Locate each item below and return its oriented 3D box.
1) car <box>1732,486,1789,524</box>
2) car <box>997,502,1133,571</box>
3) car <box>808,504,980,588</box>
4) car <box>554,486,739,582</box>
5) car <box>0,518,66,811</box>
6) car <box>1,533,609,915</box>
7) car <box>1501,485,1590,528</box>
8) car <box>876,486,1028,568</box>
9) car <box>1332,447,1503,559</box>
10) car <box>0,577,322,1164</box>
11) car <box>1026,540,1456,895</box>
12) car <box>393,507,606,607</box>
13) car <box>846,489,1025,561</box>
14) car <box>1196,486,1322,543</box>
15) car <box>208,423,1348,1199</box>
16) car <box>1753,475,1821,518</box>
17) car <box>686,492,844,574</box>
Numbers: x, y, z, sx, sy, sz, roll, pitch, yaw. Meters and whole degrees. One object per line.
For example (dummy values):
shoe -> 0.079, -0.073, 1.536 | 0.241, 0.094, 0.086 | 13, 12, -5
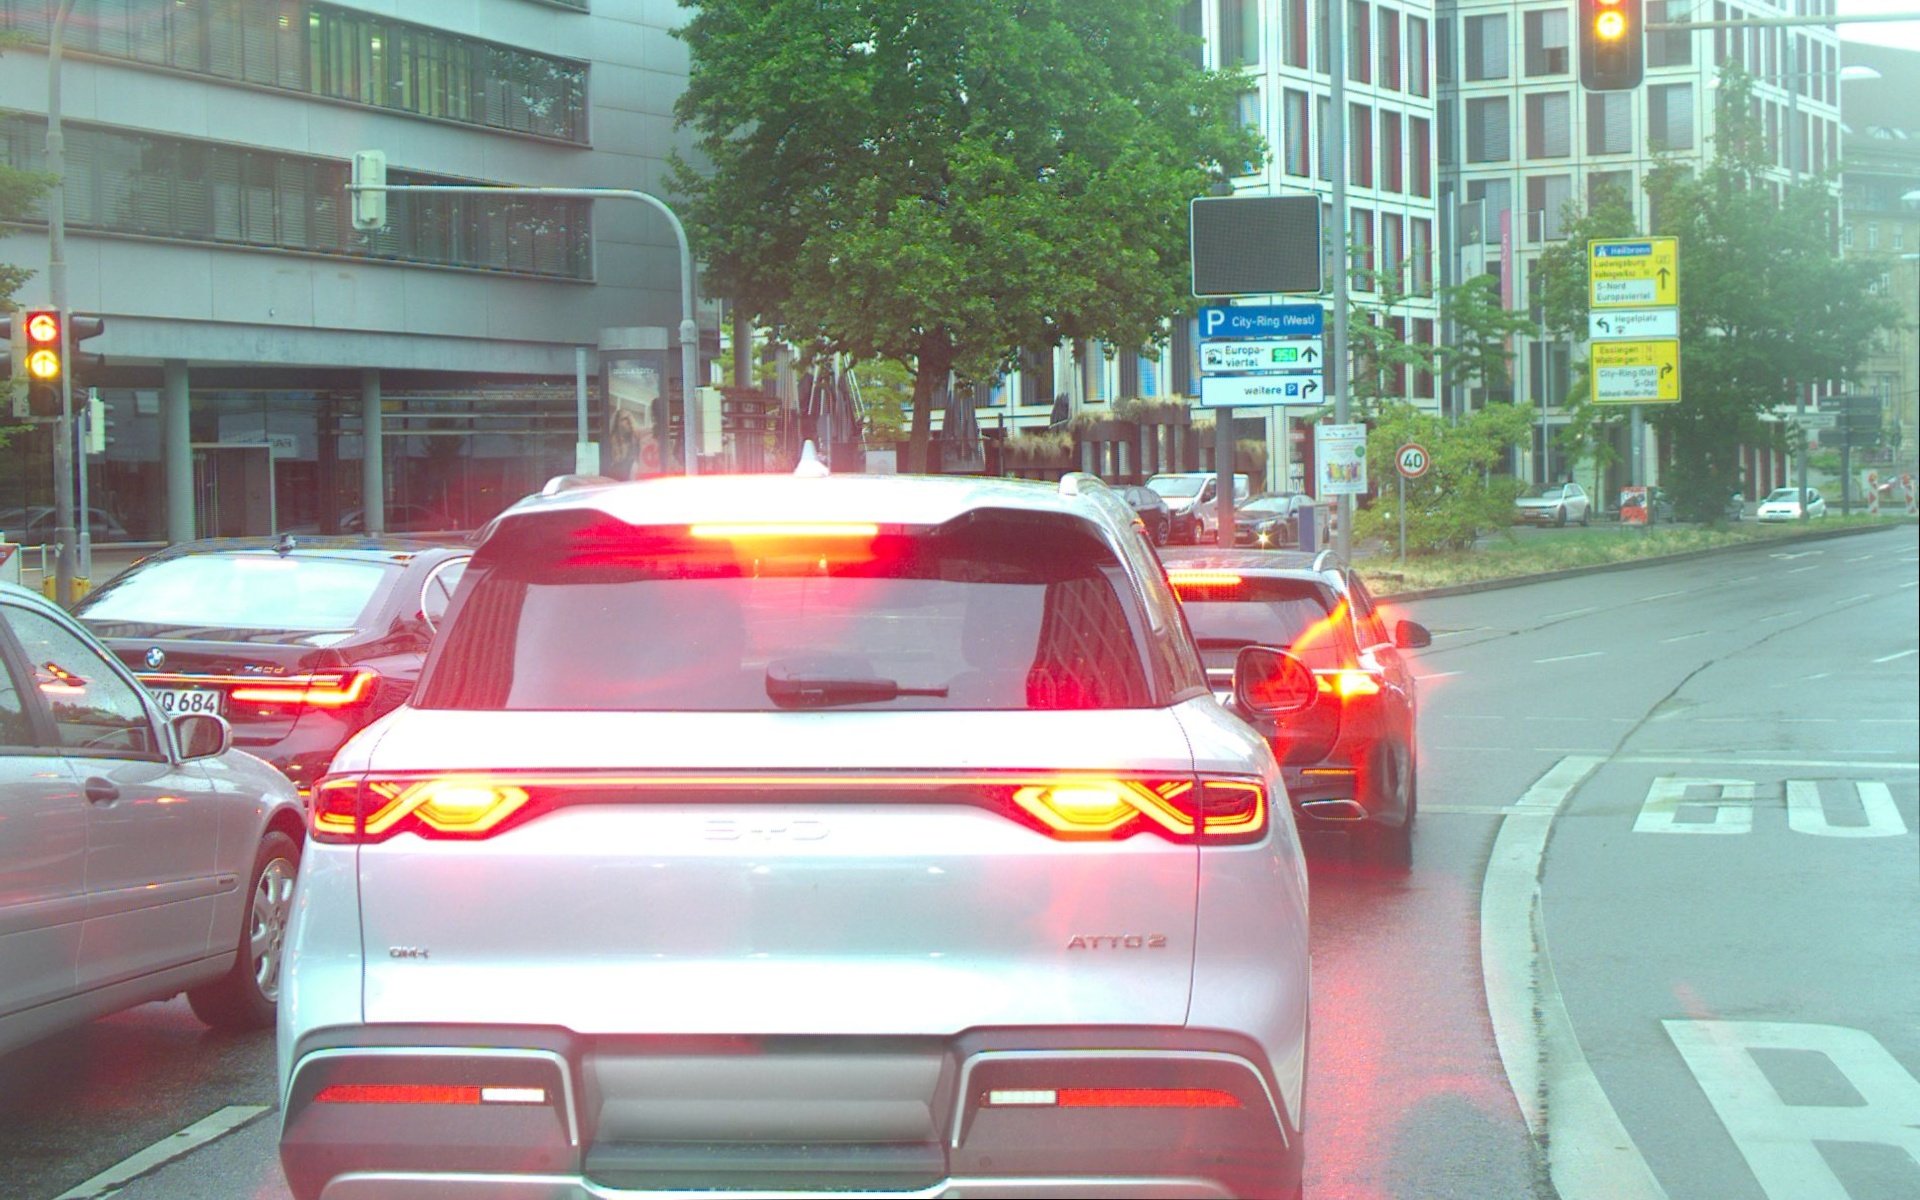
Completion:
car -> 38.080, -4.516, 163.556 | 1.609, 1.735, 3.439 | 1, 1, 32
car -> 2.528, -1.526, 81.387 | 1.633, 1.553, 4.588 | 0, 2, 23
car -> -1.084, -0.904, 58.747 | 1.692, 1.380, 3.865 | 1, 1, 19
car -> -5.186, -1.113, 57.377 | 1.645, 1.530, 4.149 | 1, 1, 17
car -> -5.877, 0.324, 16.270 | 1.707, 1.481, 3.998 | 1, 1, 9
car -> -2.794, 0.467, 15.537 | 1.571, 1.481, 3.999 | 1, 1, 7
car -> 20.902, -3.355, 122.588 | 1.996, 1.483, 3.994 | 0, 2, 27
car -> -0.130, -1.465, 68.667 | 1.645, 1.575, 4.081 | 1, 1, 21
car -> 8.716, -1.810, 65.083 | 1.996, 2.007, 4.843 | 1, 1, 23
car -> -3.039, 0.650, 8.875 | 1.571, 1.402, 4.108 | 1, 1, 7
car -> 1.472, 0.479, 16.632 | 1.694, 1.481, 3.998 | 1, 1, 10
car -> -7.943, -0.771, 59.681 | 1.996, 1.605, 3.996 | 2, 2, 20
car -> -0.494, -1.668, 75.257 | 1.816, 1.505, 5.189 | 0, 2, 26
car -> 8.020, -2.300, 92.039 | 1.996, 1.483, 3.994 | 0, 2, 27
car -> -0.240, 0.550, 7.385 | 1.776, 1.673, 4.000 | 1, 1, 2
car -> 28.525, -3.586, 118.497 | 1.633, 1.432, 3.903 | 0, 2, 23
car -> -3.847, -1.310, 68.381 | 1.640, 1.565, 3.714 | 1, 1, 24
